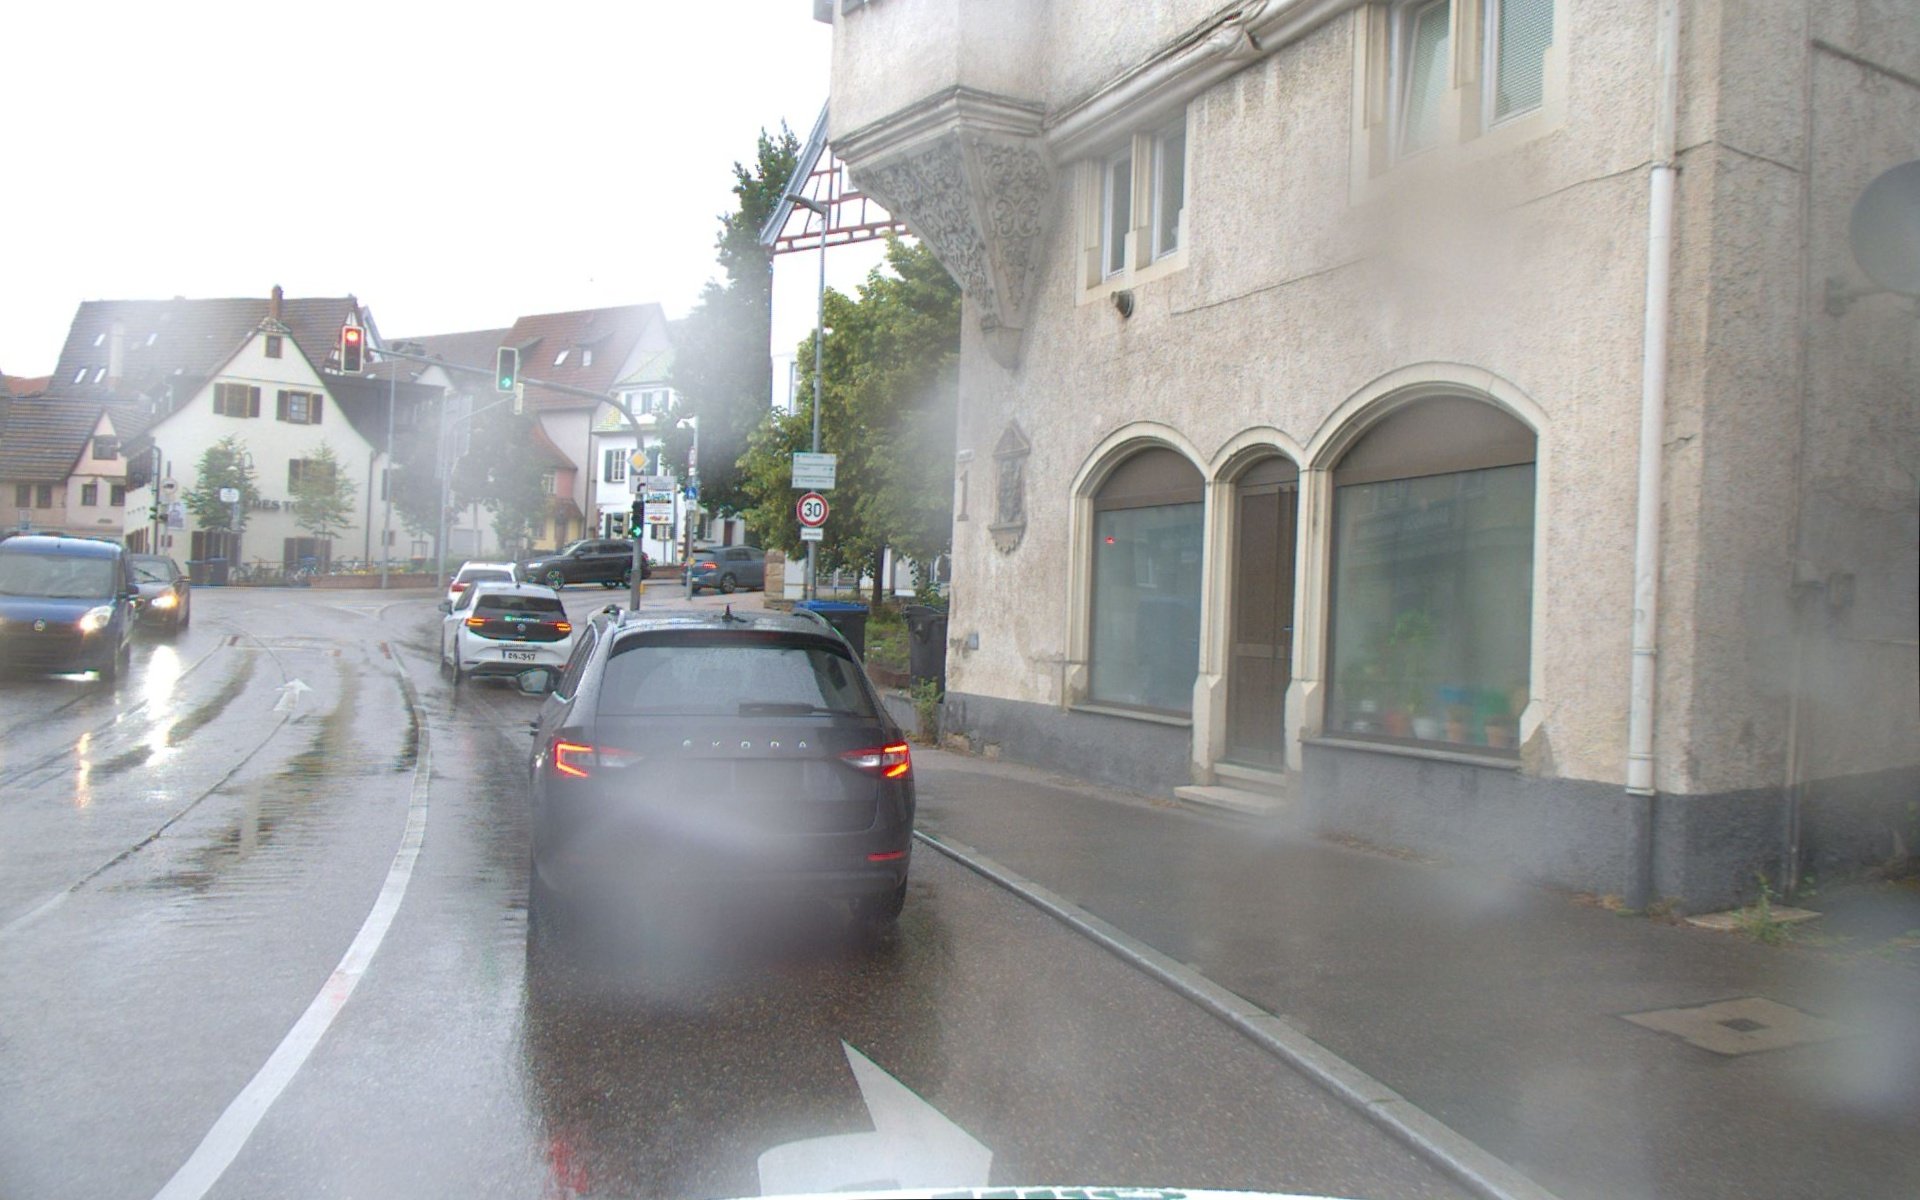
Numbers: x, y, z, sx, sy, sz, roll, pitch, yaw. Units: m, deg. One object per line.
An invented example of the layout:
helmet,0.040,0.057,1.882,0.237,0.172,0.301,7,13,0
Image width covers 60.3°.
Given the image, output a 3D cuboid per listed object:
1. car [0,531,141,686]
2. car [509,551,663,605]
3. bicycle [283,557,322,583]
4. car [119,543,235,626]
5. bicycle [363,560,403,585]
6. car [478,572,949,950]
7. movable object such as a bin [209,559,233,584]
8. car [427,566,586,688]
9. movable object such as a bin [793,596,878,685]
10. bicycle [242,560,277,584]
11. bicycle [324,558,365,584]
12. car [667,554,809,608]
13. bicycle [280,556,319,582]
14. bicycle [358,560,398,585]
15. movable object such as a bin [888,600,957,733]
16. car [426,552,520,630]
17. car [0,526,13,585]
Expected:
car,-12.475,0.039,22.788,1.968,1.914,4.343,2,1,-25
car,-12.464,-0.726,55.227,4.688,1.616,1.810,2,1,-33
bicycle,-24.651,-1.123,62.063,0.383,0.928,1.469,3,1,25
car,-14.981,-0.338,31.631,1.838,1.411,4.227,2,1,-26
bicycle,-22.709,-1.066,65.122,0.385,0.927,1.463,6,3,37
car,-1.495,0.703,8.804,1.855,1.473,4.340,2,-2,-14
movable object such as a bin,-27.396,-1.058,61.293,0.573,0.917,0.585,3,1,39
car,-7.170,0.347,25.916,1.832,1.498,3.973,-2,5,-24
movable object such as a bin,-1.989,0.629,26.264,1.135,1.336,1.182,2,0,-14
bicycle,-25.797,-1.026,60.933,0.330,0.832,1.438,5,3,16
bicycle,-23.852,-1.130,64.127,0.385,0.927,1.463,6,3,37
car,-7.035,-0.604,52.519,3.959,1.324,1.973,6,-1,-39
bicycle,-24.956,-1.164,62.479,0.383,0.928,1.469,3,1,25
bicycle,-23.013,-1.073,65.410,0.385,0.927,1.463,6,3,37
movable object such as a bin,-0.430,0.748,18.842,0.410,1.467,0.634,2,1,-43
car,-11.453,-0.249,38.711,1.857,1.623,4.302,2,1,-19
car,-28.548,-1.260,45.380,4.416,1.619,1.980,1,0,-30
